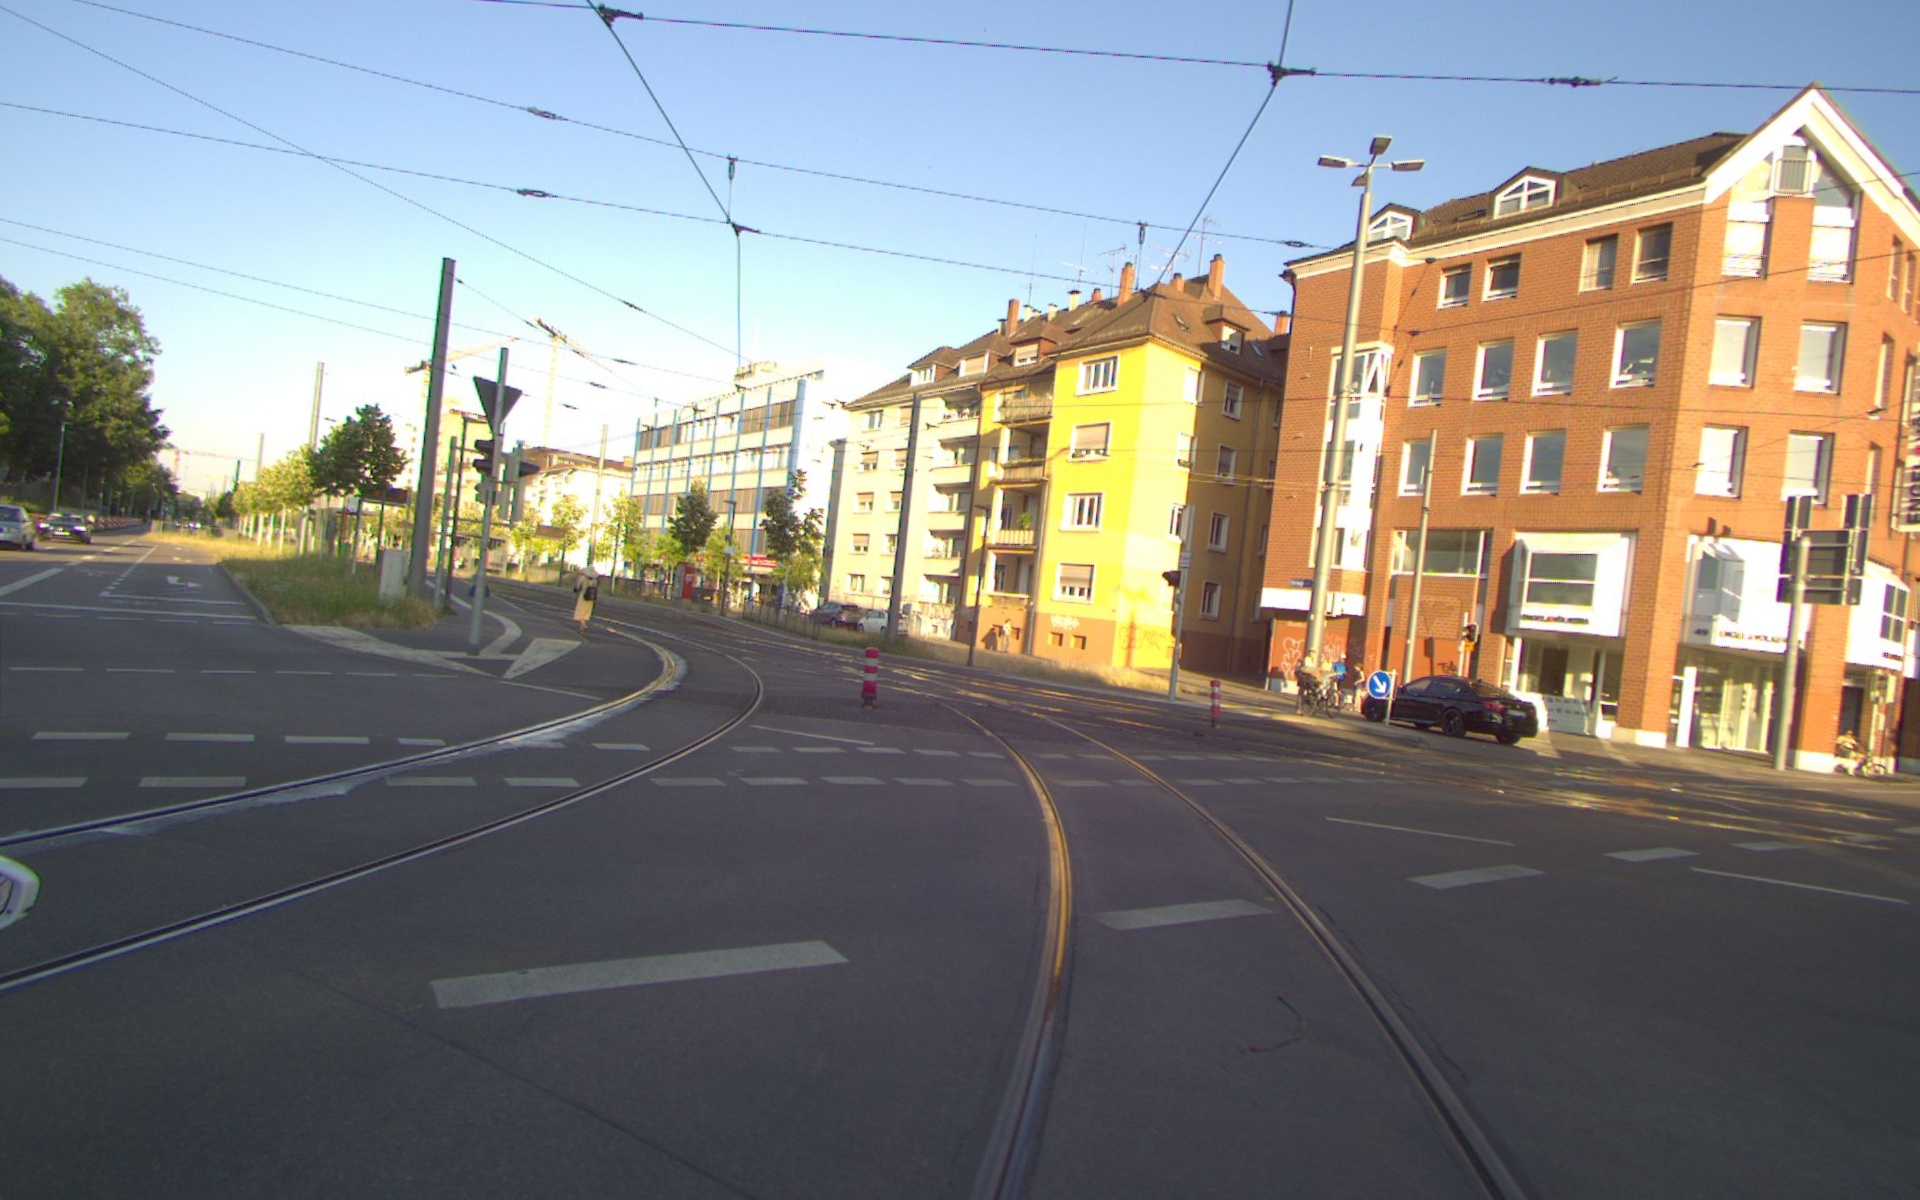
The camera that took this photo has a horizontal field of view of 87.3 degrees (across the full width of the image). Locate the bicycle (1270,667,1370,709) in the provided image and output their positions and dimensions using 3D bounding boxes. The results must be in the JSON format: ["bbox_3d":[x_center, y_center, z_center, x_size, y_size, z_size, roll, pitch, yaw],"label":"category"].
[{"bbox_3d":[12.232,2.971,34.279,0.925,1.030,3.026,6,0,-44],"label":"bicycle"}]

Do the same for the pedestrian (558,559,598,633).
[{"bbox_3d":[-8.475,-0.095,22.317,0.697,1.560,0.634,5,1,-21],"label":"pedestrian"}]

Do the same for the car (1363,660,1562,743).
[{"bbox_3d":[12.429,2.480,25.216,1.821,1.513,4.274,6,-2,-21],"label":"car"}]

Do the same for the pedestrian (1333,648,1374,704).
[{"bbox_3d":[13.460,2.611,34.386,0.911,1.800,0.862,5,1,-44],"label":"pedestrian"}]

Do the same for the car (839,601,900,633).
[{"bbox_3d":[-5.189,0.968,57.431,1.726,1.438,3.505,6,0,-40],"label":"car"}]

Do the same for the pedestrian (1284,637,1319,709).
[{"bbox_3d":[8.504,1.818,25.070,0.415,1.729,0.510,5,1,-37],"label":"pedestrian"}]

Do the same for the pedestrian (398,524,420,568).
[{"bbox_3d":[-21.256,-2.074,38.820,0.560,1.610,0.684,5,0,-34],"label":"pedestrian"}]

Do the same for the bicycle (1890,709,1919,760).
[{"bbox_3d":[35.838,5.017,36.145,1.059,1.747,3.276,5,0,-35],"label":"bicycle"}]

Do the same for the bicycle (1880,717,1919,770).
[{"bbox_3d":[34.862,5.236,35.486,1.059,1.747,3.278,5,0,-34],"label":"bicycle"}]

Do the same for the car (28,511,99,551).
[{"bbox_3d":[-43.526,-3.319,48.936,1.925,1.637,4.351,6,0,-35],"label":"car"}]

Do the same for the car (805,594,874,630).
[{"bbox_3d":[-7.444,0.711,61.994,2.103,1.726,4.302,6,0,-40],"label":"car"}]

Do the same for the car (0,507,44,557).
[{"bbox_3d":[-32.649,-2.317,34.225,1.664,1.581,3.693,3,0,-35],"label":"car"}]
